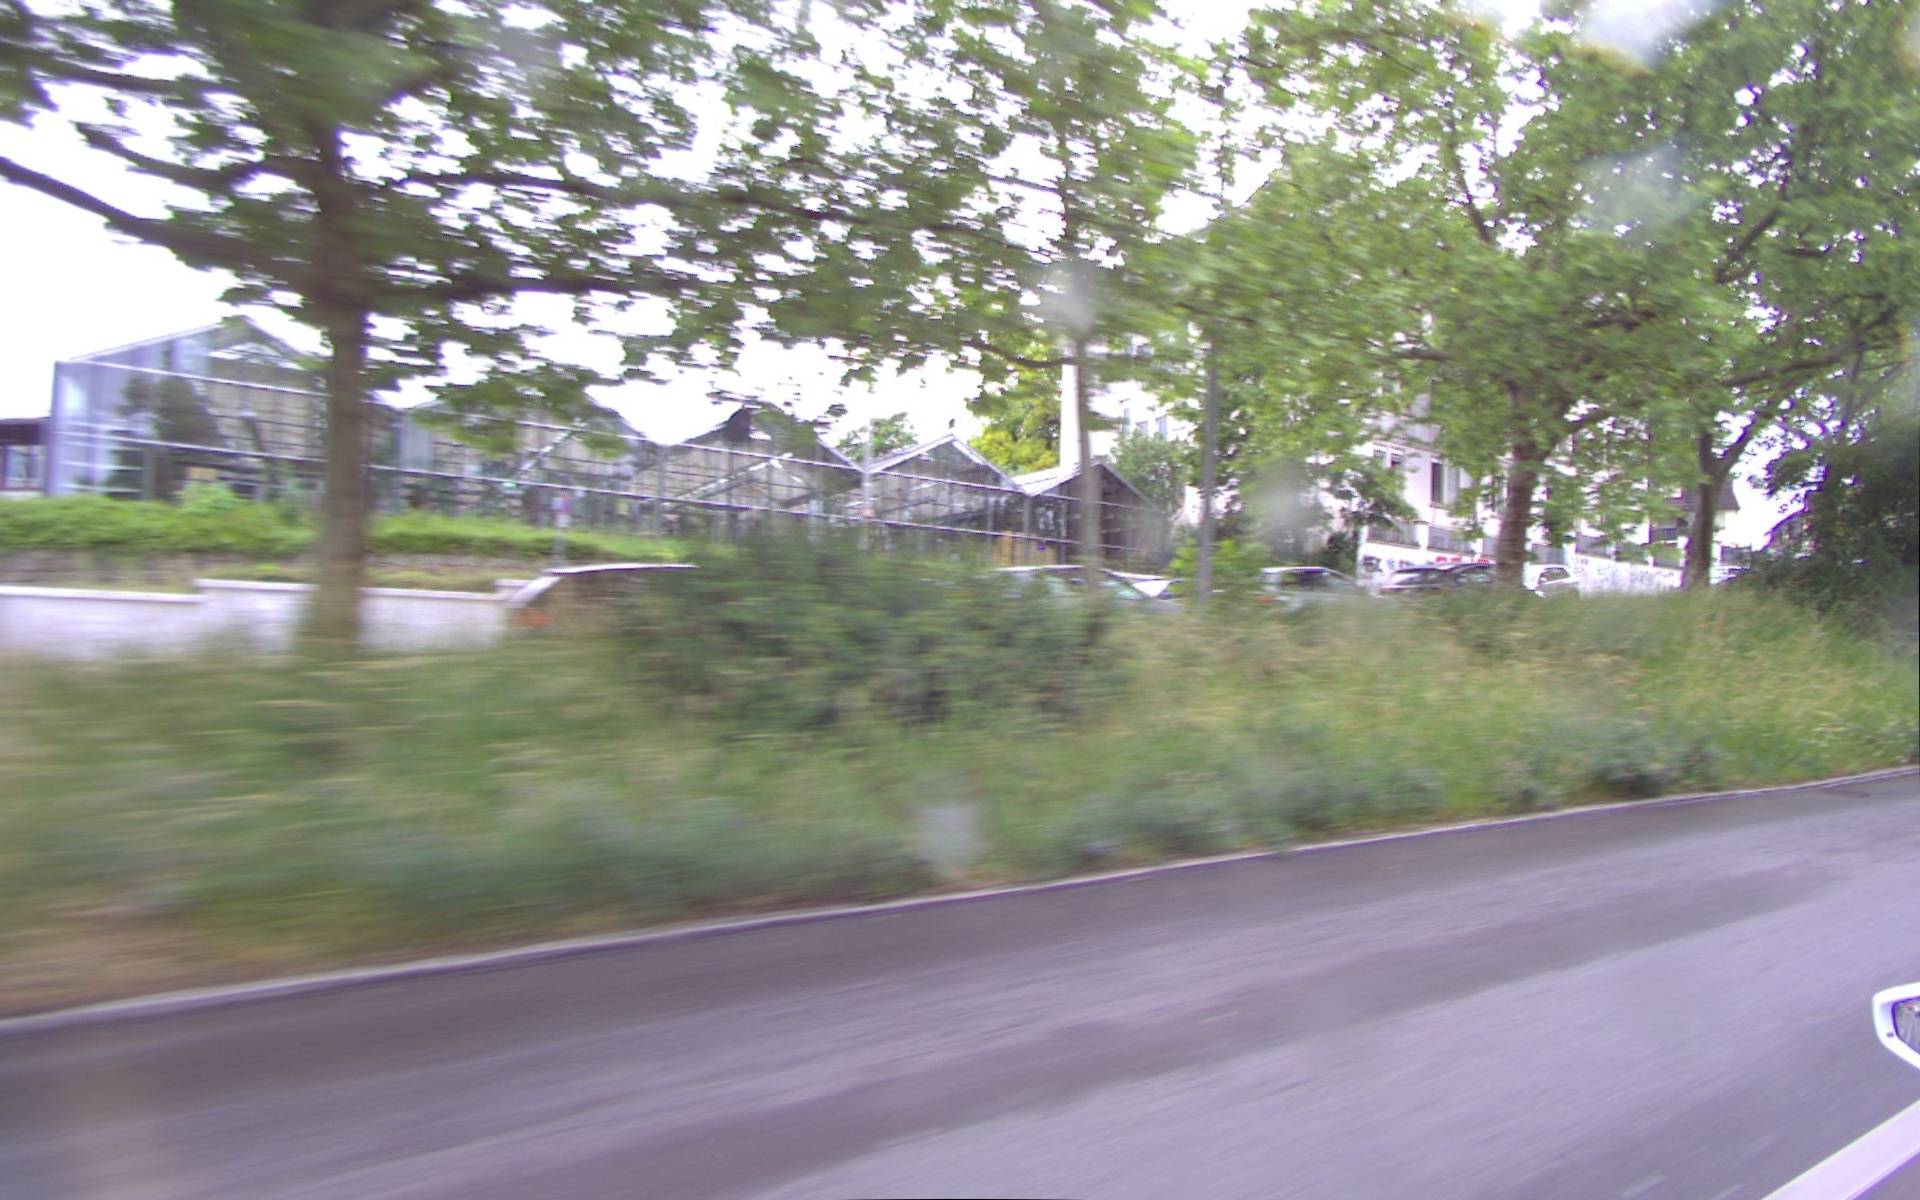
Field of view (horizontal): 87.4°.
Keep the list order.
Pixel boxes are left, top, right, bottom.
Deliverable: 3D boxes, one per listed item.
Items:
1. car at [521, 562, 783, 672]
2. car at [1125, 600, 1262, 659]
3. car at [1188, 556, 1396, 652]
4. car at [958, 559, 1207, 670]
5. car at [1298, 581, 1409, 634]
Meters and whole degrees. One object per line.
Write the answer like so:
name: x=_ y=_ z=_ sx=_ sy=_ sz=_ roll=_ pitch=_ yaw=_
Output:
car: x=-3.665 y=0.251 z=12.036 sx=2.723 sy=1.145 sz=1.343 roll=4 pitch=-3 yaw=-33
car: x=5.811 y=0.756 z=24.881 sx=3.270 sy=1.307 sz=1.455 roll=4 pitch=-3 yaw=-33
car: x=5.814 y=0.132 z=17.526 sx=3.409 sy=1.422 sz=1.693 roll=4 pitch=-3 yaw=-33
car: x=1.871 y=0.277 z=15.065 sx=3.409 sy=1.422 sz=1.693 roll=4 pitch=-3 yaw=-33
car: x=11.178 y=0.236 z=28.495 sx=3.051 sy=1.326 sz=1.354 roll=3 pitch=-3 yaw=-30
